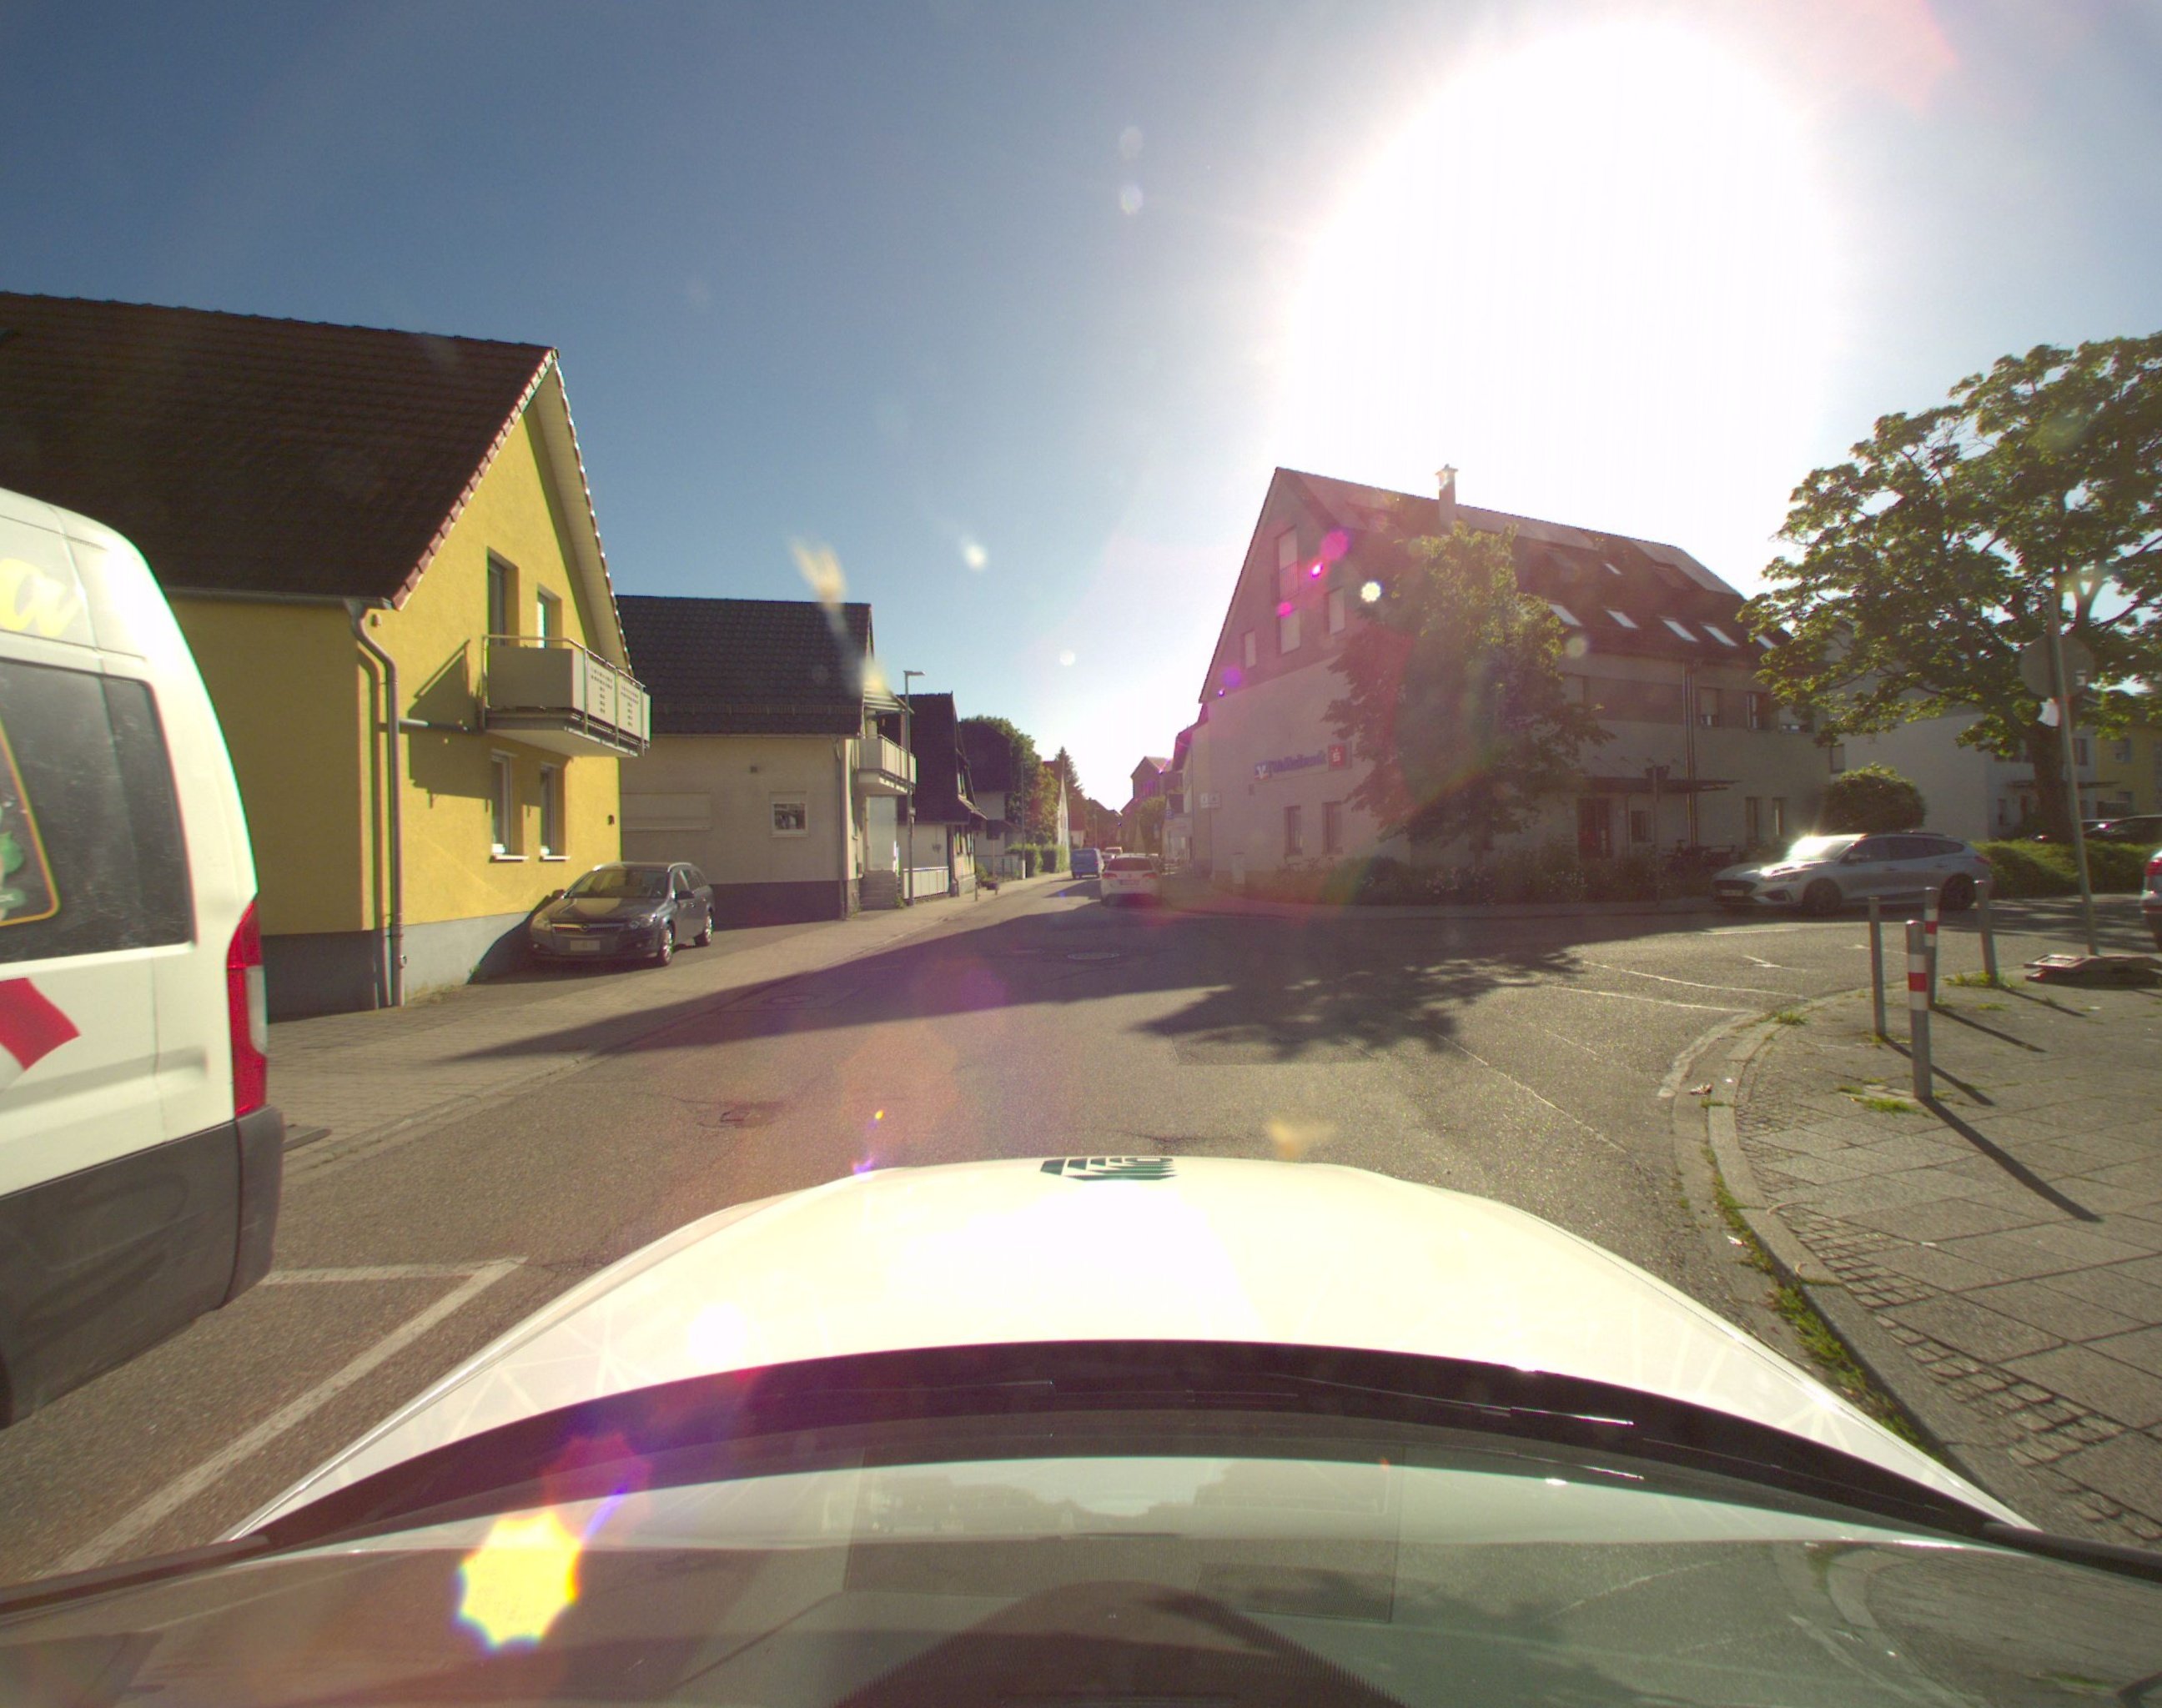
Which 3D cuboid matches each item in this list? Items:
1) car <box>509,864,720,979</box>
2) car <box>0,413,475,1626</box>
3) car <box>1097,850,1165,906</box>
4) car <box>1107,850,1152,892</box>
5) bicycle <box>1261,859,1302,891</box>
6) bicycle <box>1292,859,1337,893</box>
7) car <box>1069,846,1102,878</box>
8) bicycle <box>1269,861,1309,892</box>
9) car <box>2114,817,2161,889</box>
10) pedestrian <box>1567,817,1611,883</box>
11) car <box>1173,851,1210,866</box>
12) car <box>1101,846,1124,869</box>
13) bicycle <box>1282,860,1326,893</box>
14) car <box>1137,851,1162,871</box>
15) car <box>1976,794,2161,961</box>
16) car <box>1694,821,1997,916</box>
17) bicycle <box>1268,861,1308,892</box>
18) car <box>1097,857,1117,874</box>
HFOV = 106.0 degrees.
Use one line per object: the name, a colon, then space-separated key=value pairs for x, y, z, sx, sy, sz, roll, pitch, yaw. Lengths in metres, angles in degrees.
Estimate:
car: x=-7.004 y=0.897 z=12.733 sx=1.690 sy=1.445 sz=4.158 roll=-1 pitch=0 yaw=-13
car: x=-3.347 y=0.357 z=0.137 sx=2.245 sy=2.470 sz=5.516 roll=-2 pitch=0 yaw=0
car: x=1.630 y=0.679 z=25.092 sx=1.836 sy=1.514 sz=4.514 roll=-2 pitch=0 yaw=6
car: x=1.830 y=0.619 z=31.323 sx=1.603 sy=1.521 sz=3.974 roll=0 pitch=0 yaw=3
bicycle: x=6.404 y=0.677 z=26.048 sx=1.212 sy=0.975 sz=0.321 roll=-2 pitch=0 yaw=16
bicycle: x=6.598 y=0.626 z=23.075 sx=1.159 sy=0.920 sz=0.313 roll=-2 pitch=0 yaw=1
car: x=0.361 y=0.511 z=53.444 sx=1.895 sy=1.917 sz=5.073 roll=-3 pitch=0 yaw=2
bicycle: x=6.383 y=0.693 z=25.020 sx=1.155 sy=0.920 sz=0.314 roll=-2 pitch=0 yaw=11
car: x=24.826 y=-0.094 z=17.170 sx=4.286 sy=1.494 sz=1.810 roll=-2 pitch=0 yaw=-7
pedestrian: x=15.770 y=-0.119 z=25.297 sx=0.773 sy=2.013 sz=0.763 roll=-2 pitch=0 yaw=-13
car: x=12.522 y=0.523 z=92.097 sx=3.884 sy=1.492 sz=1.854 roll=-3 pitch=0 yaw=14
car: x=3.727 y=0.366 z=95.194 sx=2.186 sy=2.390 sz=6.074 roll=-4 pitch=0 yaw=6
bicycle: x=6.546 y=0.664 z=23.927 sx=1.159 sy=0.920 sz=0.313 roll=-2 pitch=0 yaw=1
car: x=5.269 y=0.526 z=62.669 sx=1.803 sy=1.475 sz=4.665 roll=-1 pitch=0 yaw=4
car: x=12.331 y=0.151 z=8.658 sx=4.293 sy=1.593 sz=1.807 roll=-2 pitch=-1 yaw=-12
car: x=14.193 y=0.247 z=15.243 sx=4.286 sy=1.494 sz=1.810 roll=-2 pitch=0 yaw=-7
bicycle: x=6.467 y=0.712 z=25.449 sx=1.155 sy=0.920 sz=0.314 roll=-2 pitch=0 yaw=11
car: x=2.637 y=1.136 z=83.306 sx=1.706 sy=1.598 sz=3.931 roll=-3 pitch=0 yaw=6
